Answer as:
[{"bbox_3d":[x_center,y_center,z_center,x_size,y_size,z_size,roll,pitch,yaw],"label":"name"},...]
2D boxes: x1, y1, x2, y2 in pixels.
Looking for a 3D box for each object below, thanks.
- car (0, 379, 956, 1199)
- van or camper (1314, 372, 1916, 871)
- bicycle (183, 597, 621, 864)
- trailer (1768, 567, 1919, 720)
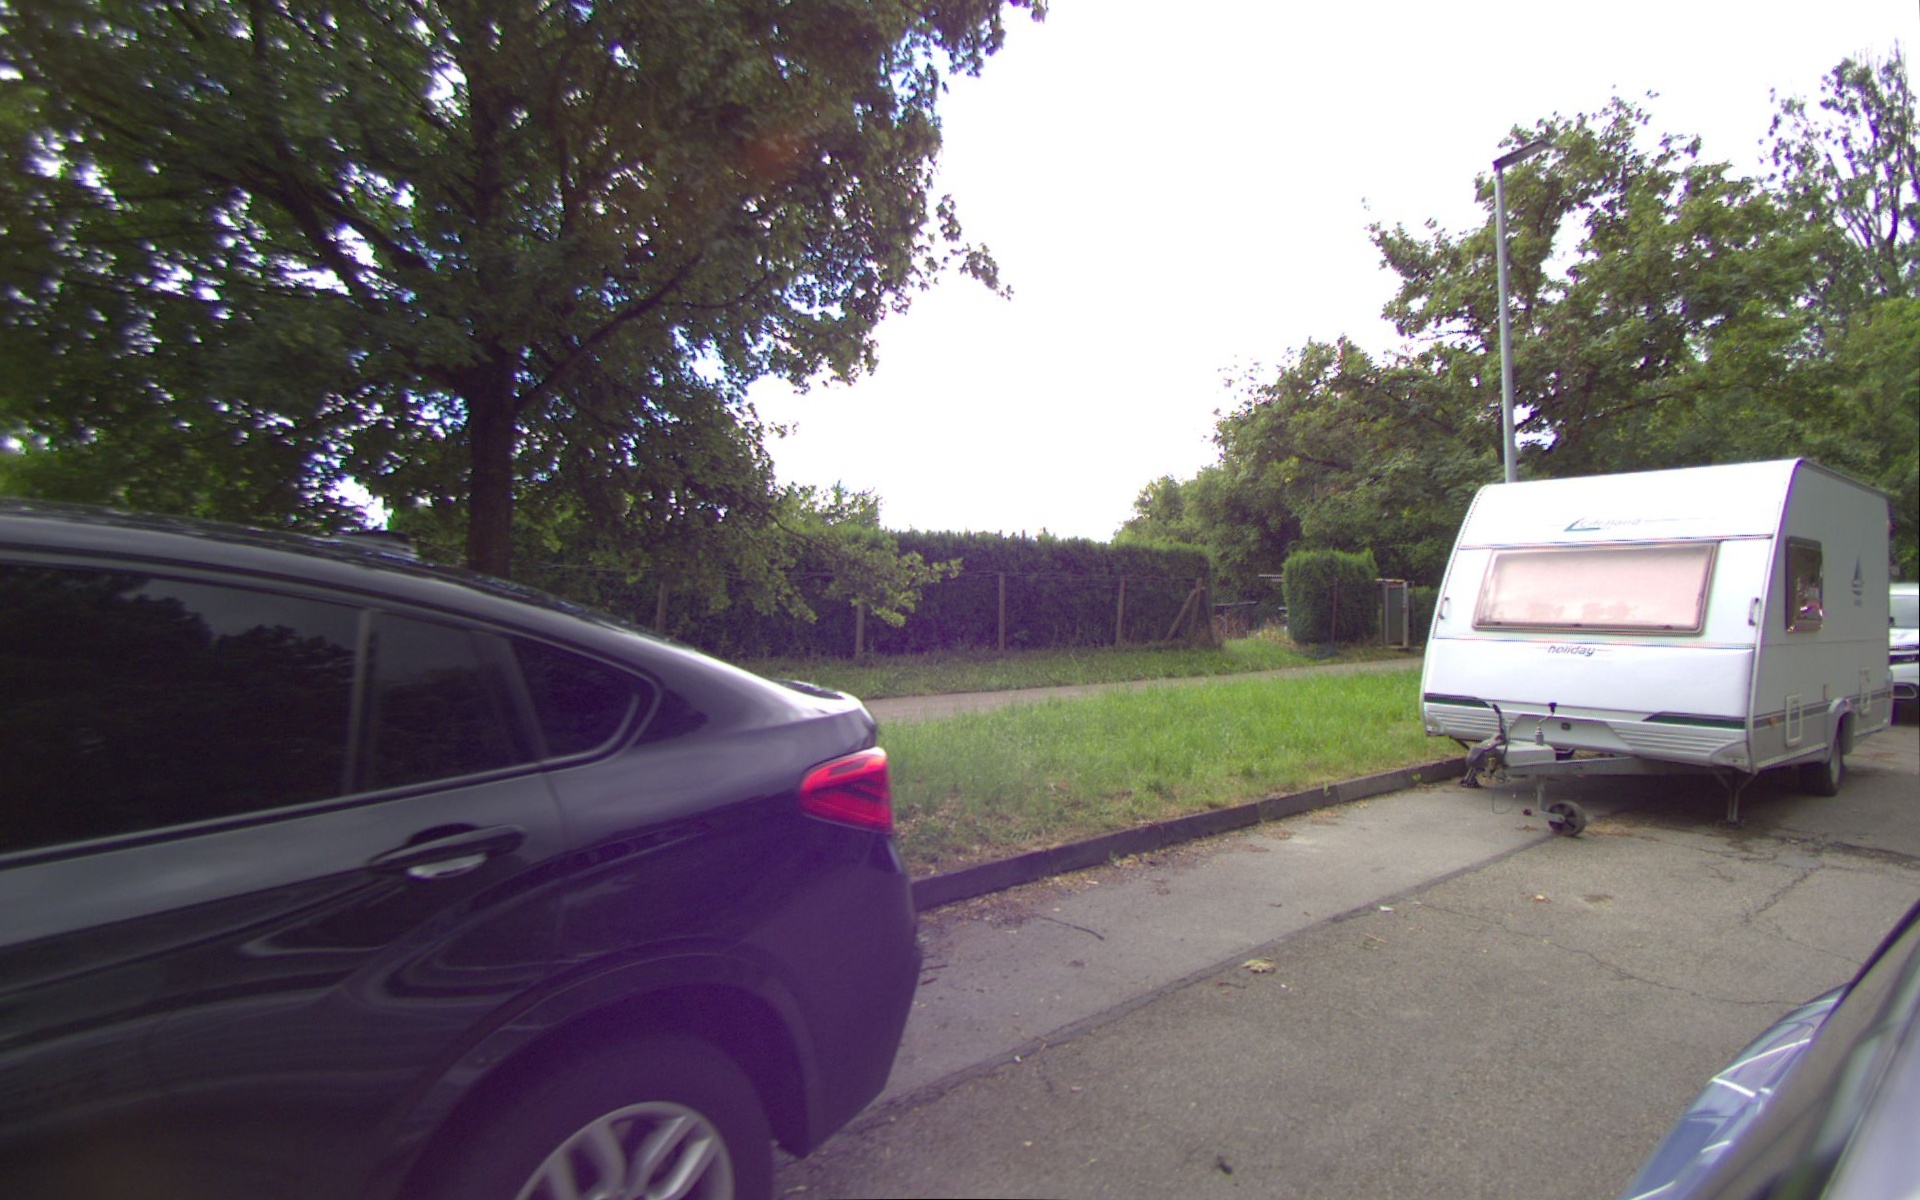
[{"bbox_3d":[-2.243,0.569,1.425,4.455,1.664,1.850,0,0,-44],"label":"car"},{"bbox_3d":[5.424,0.095,7.924,5.923,2.569,2.166,-1,-1,-39],"label":"van or camper"},{"bbox_3d":[-3.143,0.646,5.919,2.149,1.230,0.534,-3,0,-44],"label":"bicycle"},{"bbox_3d":[12.564,0.443,13.436,4.564,1.752,1.777,-2,2,-37],"label":"trailer"}]
